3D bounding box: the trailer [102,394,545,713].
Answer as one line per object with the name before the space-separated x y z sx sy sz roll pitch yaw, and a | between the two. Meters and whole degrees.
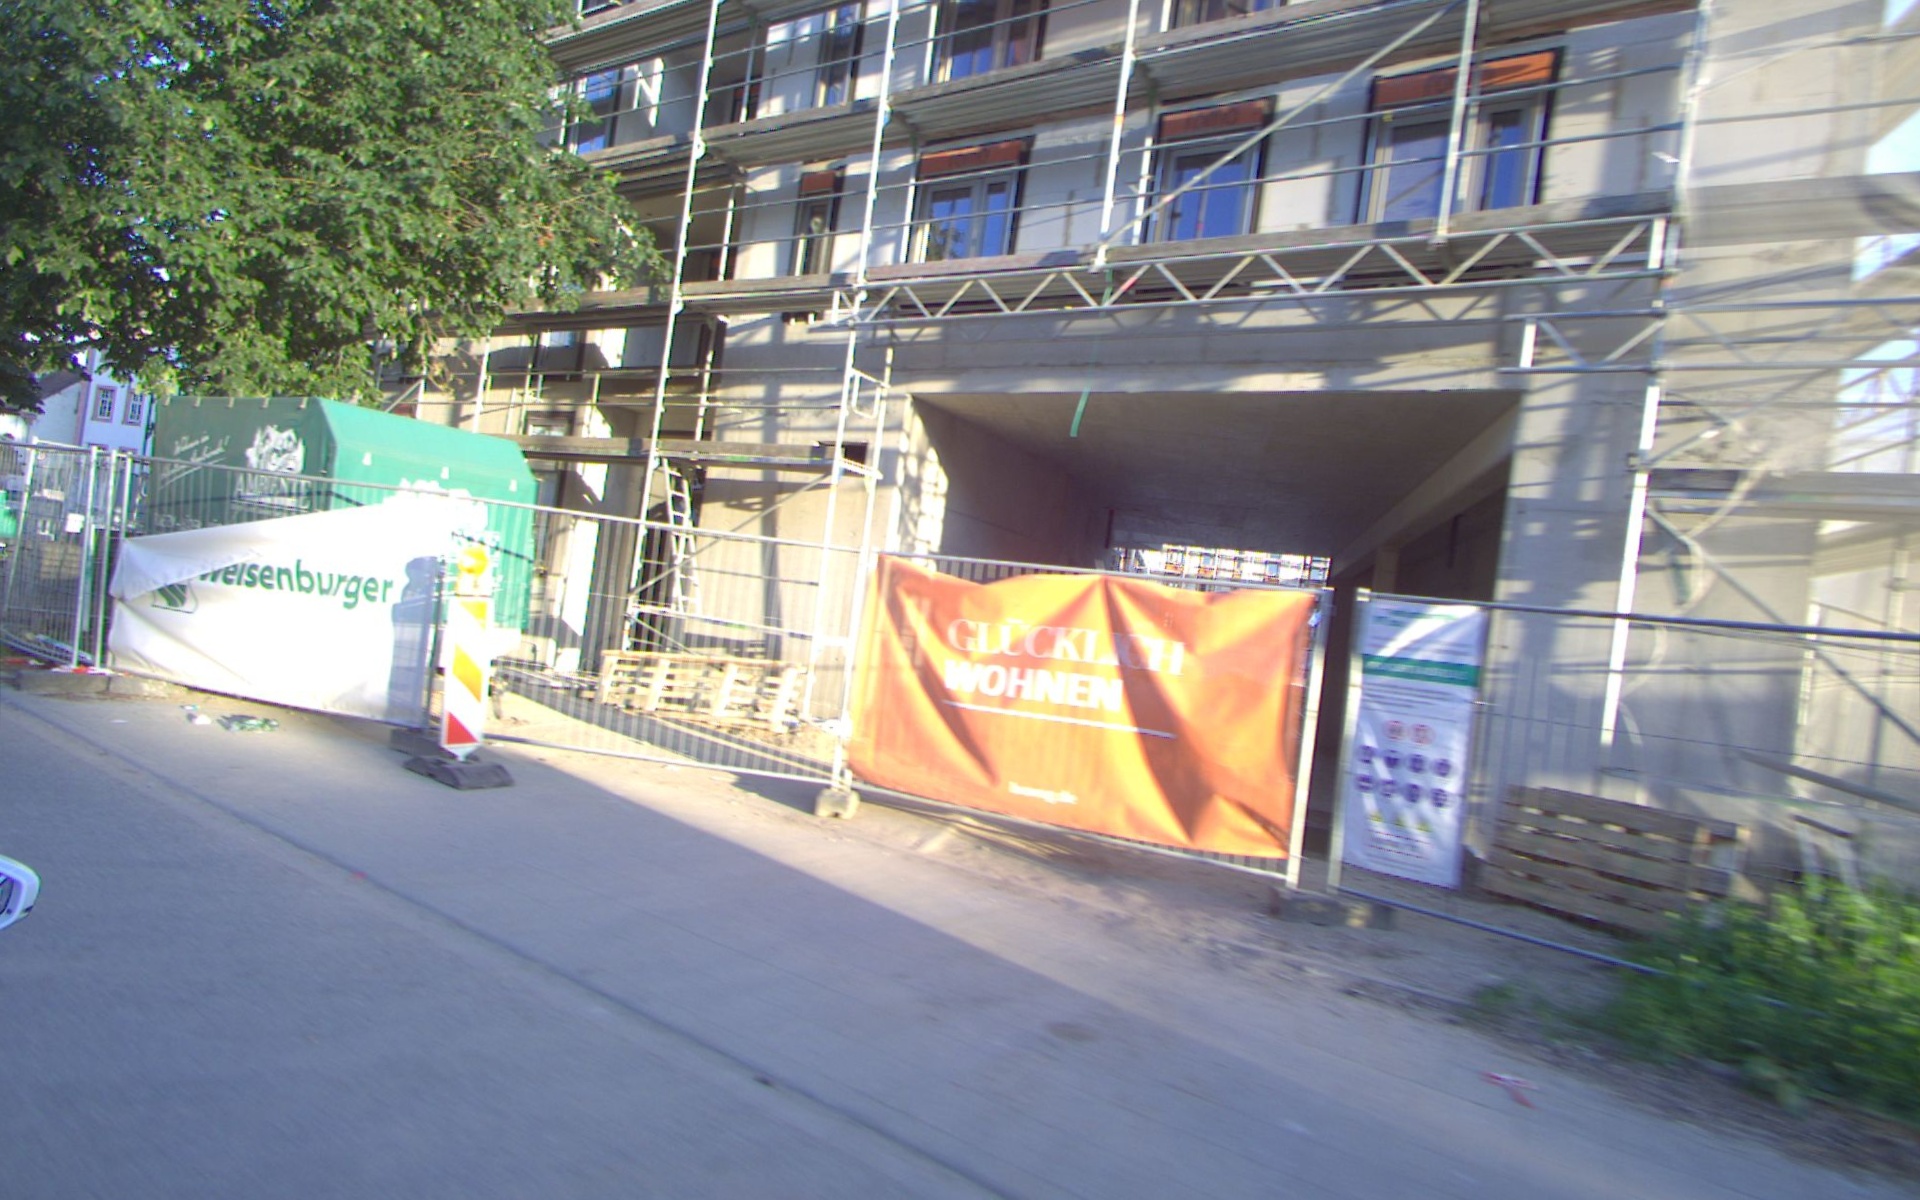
trailer | -6.448 -0.506 10.082 4.118 2.569 1.996 8 -1 34
